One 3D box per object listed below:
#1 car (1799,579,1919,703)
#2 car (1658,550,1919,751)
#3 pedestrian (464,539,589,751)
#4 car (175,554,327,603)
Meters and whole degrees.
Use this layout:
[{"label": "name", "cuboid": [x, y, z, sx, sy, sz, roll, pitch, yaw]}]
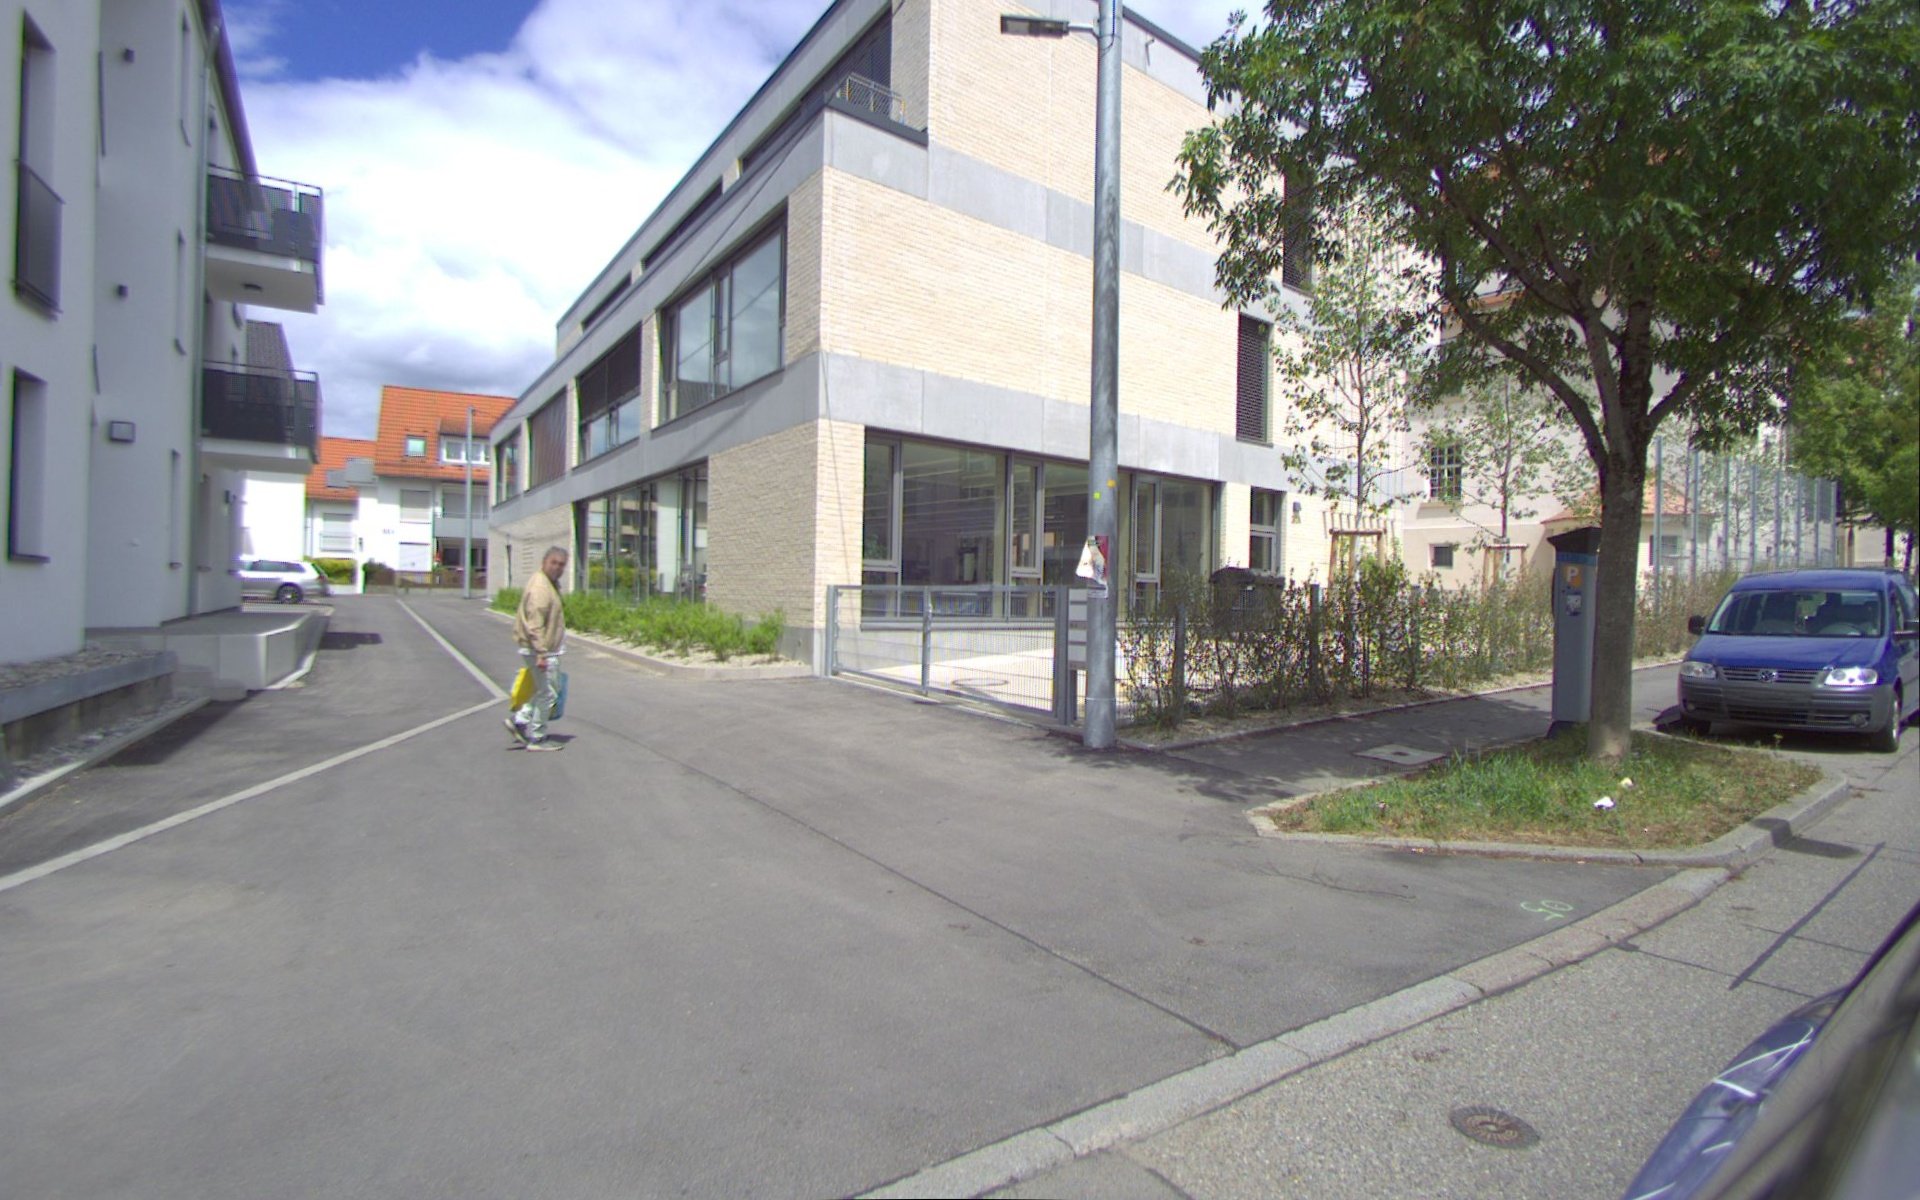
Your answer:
[{"label": "car", "cuboid": [13.715, 0.494, 14.578, 4.288, 1.528, 1.789, -2, 1, -40]}, {"label": "car", "cuboid": [9.471, 0.382, 11.146, 4.436, 1.790, 1.848, -2, 1, -40]}, {"label": "pedestrian", "cuboid": [-3.528, 0.341, 8.279, 0.726, 1.667, 0.615, 0, 1, 7]}, {"label": "car", "cuboid": [-22.721, -0.697, 32.621, 3.922, 1.504, 1.785, -1, 1, -32]}]
